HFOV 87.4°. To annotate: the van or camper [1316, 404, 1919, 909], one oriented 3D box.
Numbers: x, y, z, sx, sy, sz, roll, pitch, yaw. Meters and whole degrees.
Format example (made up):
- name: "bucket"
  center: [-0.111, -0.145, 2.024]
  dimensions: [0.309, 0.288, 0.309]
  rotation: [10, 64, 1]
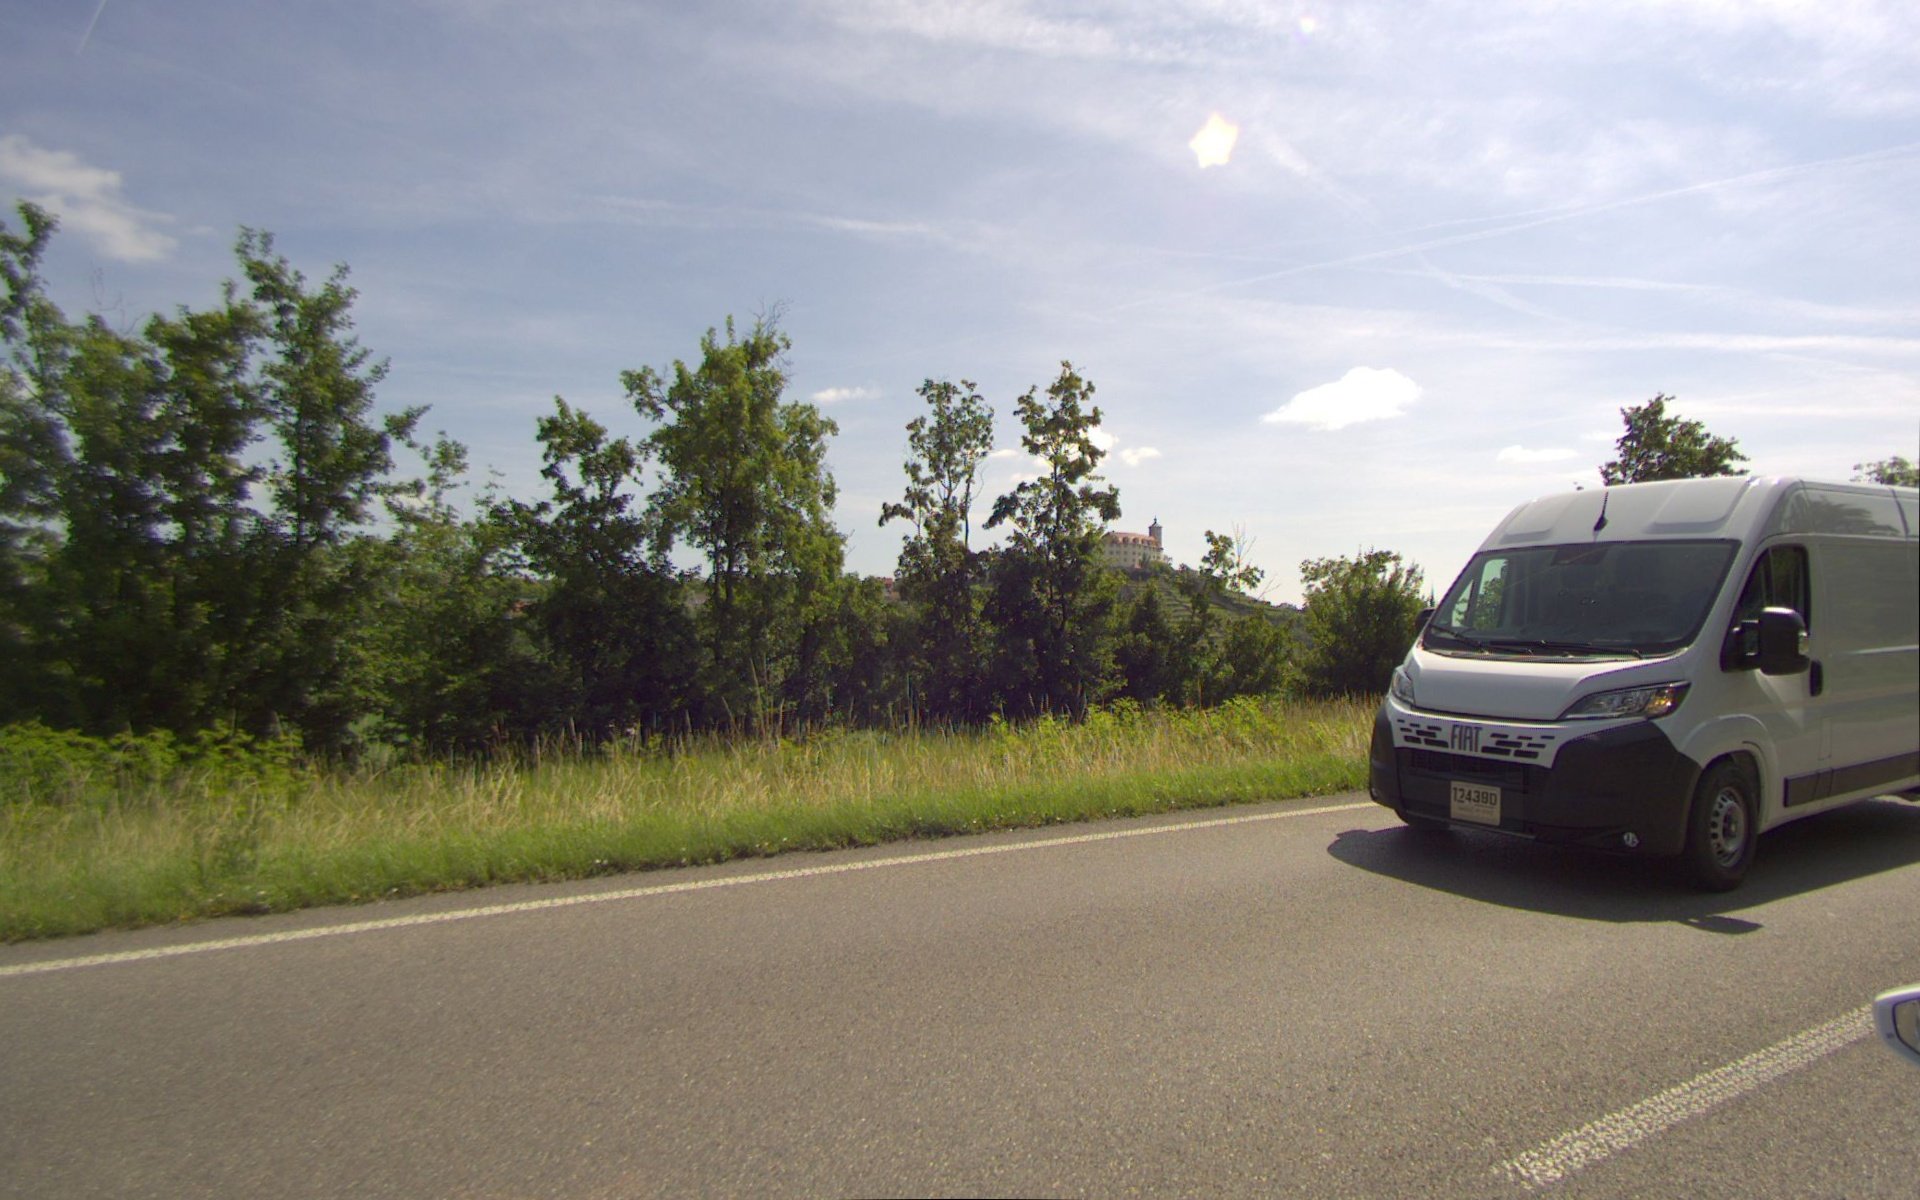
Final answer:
- name: "van or camper"
  center: [5.660, 0.360, 7.559]
  dimensions: [6.060, 2.561, 2.198]
  rotation: [1, -1, -30]
